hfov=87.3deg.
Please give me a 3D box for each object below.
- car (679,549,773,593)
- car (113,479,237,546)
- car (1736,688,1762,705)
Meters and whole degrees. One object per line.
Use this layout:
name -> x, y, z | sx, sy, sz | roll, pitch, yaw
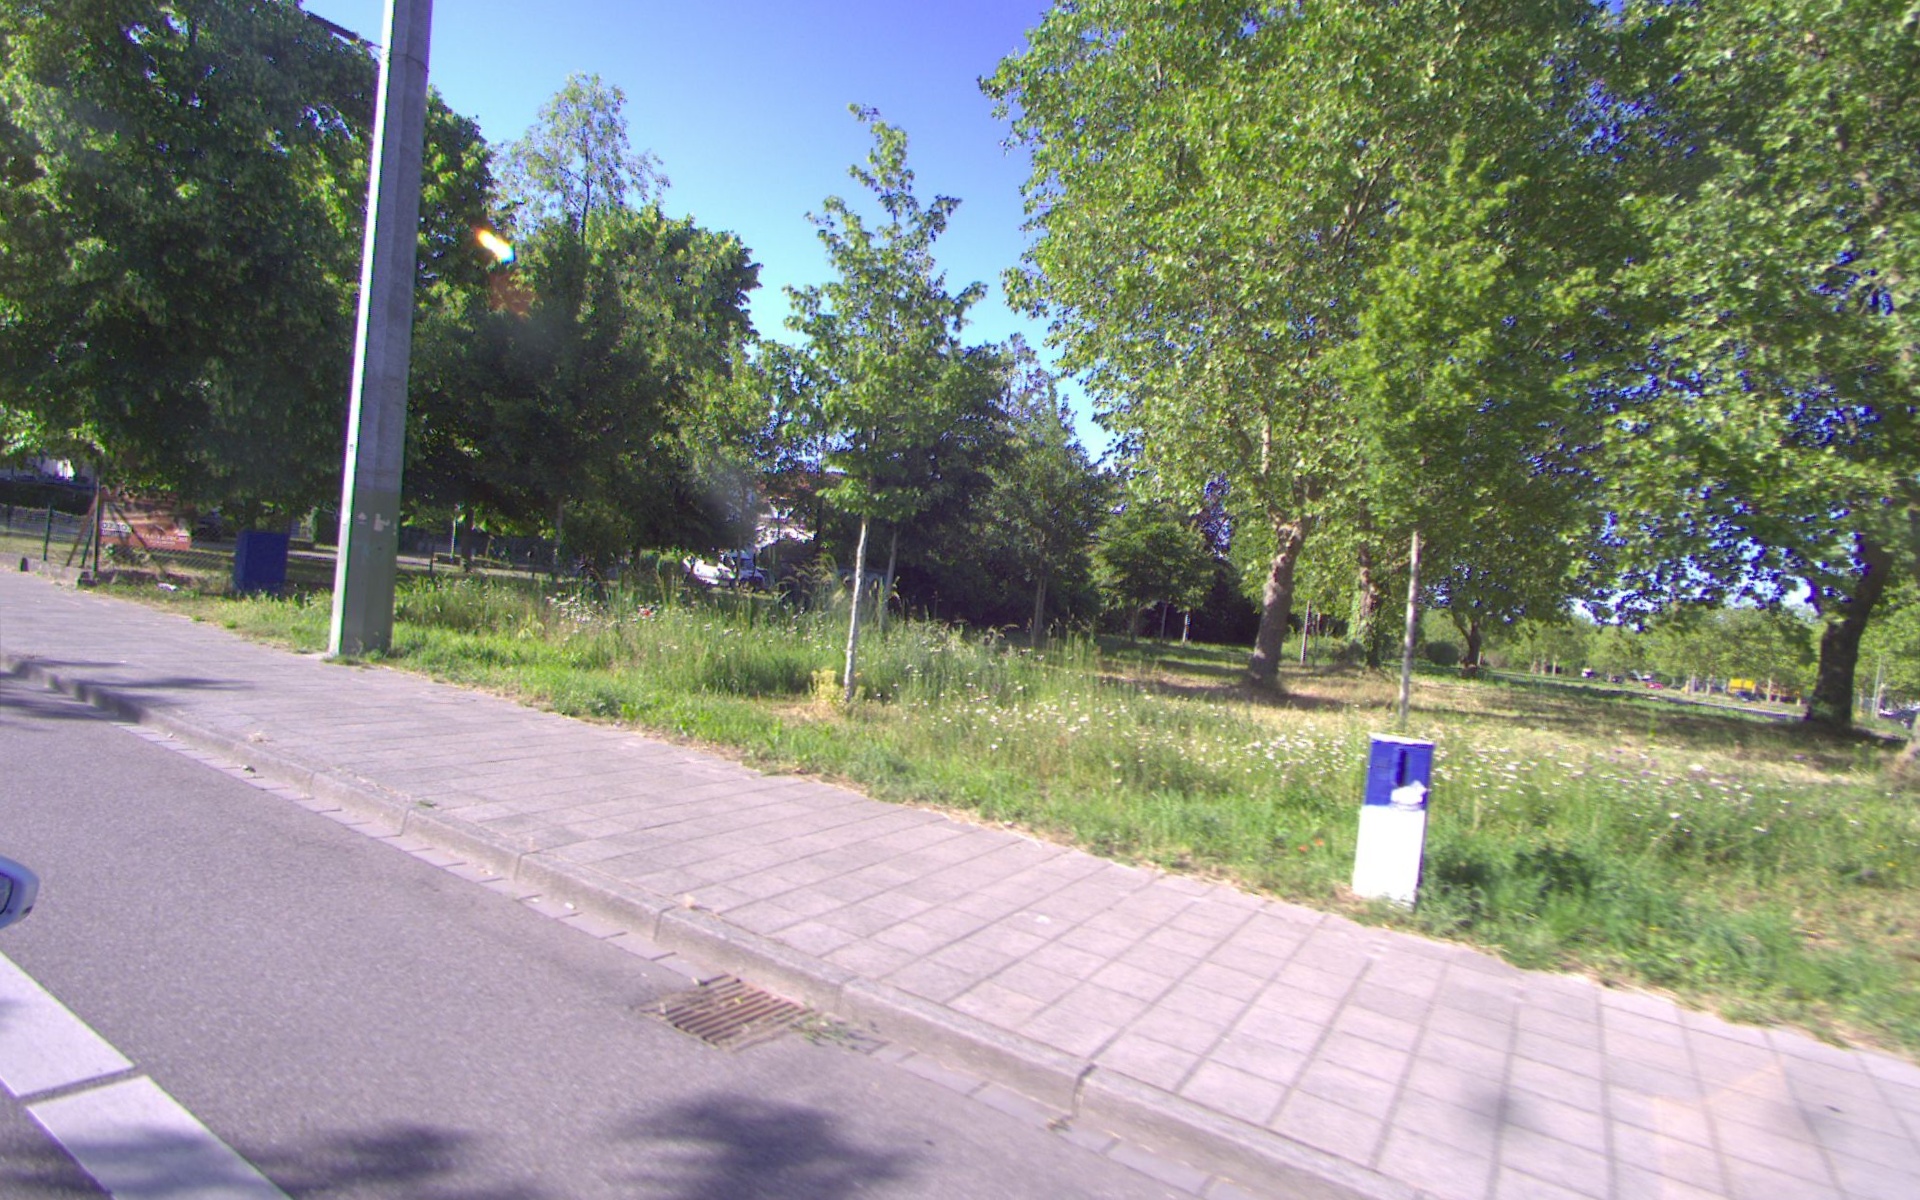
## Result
car -> -14.605, -1.830, 62.669 | 5.774, 2.065, 2.020 | 6, 0, 32
car -> -29.278, -3.281, 37.475 | 5.081, 1.991, 1.874 | 6, 0, 32
car -> 86.806, 10.628, 110.663 | 1.934, 1.550, 3.985 | 7, 1, 36
